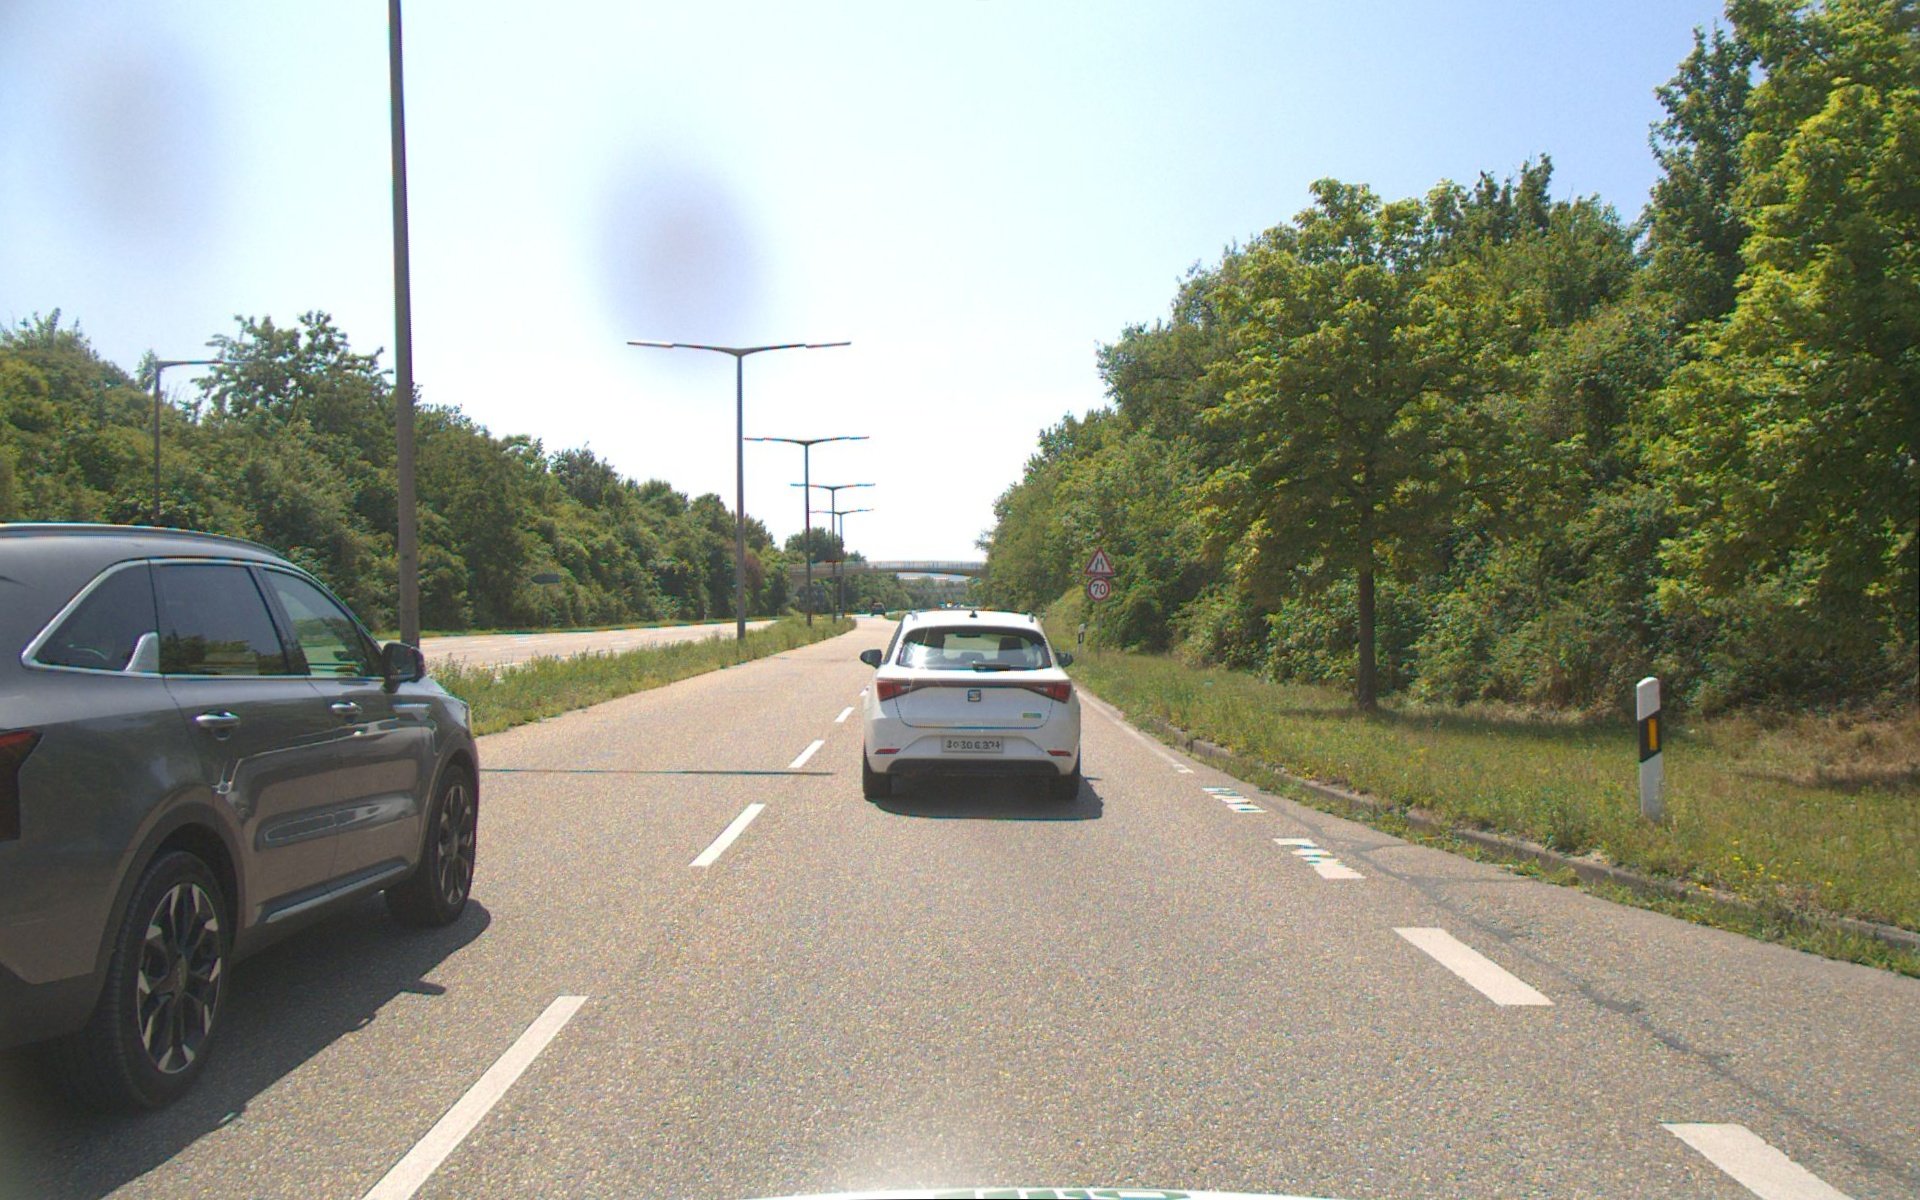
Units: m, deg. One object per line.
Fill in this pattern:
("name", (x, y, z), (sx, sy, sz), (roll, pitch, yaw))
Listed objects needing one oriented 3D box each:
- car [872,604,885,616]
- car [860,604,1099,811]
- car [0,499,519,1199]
("car", (-11.963, 1.486, 242.357), (1.817, 1.738, 3.999), (2, 0, -2))
("car", (0.145, 0.803, 13.835), (1.699, 1.453, 3.694), (1, -1, 0))
("car", (-3.121, 0.625, 6.049), (1.767, 1.691, 4.644), (0, 0, 0))
